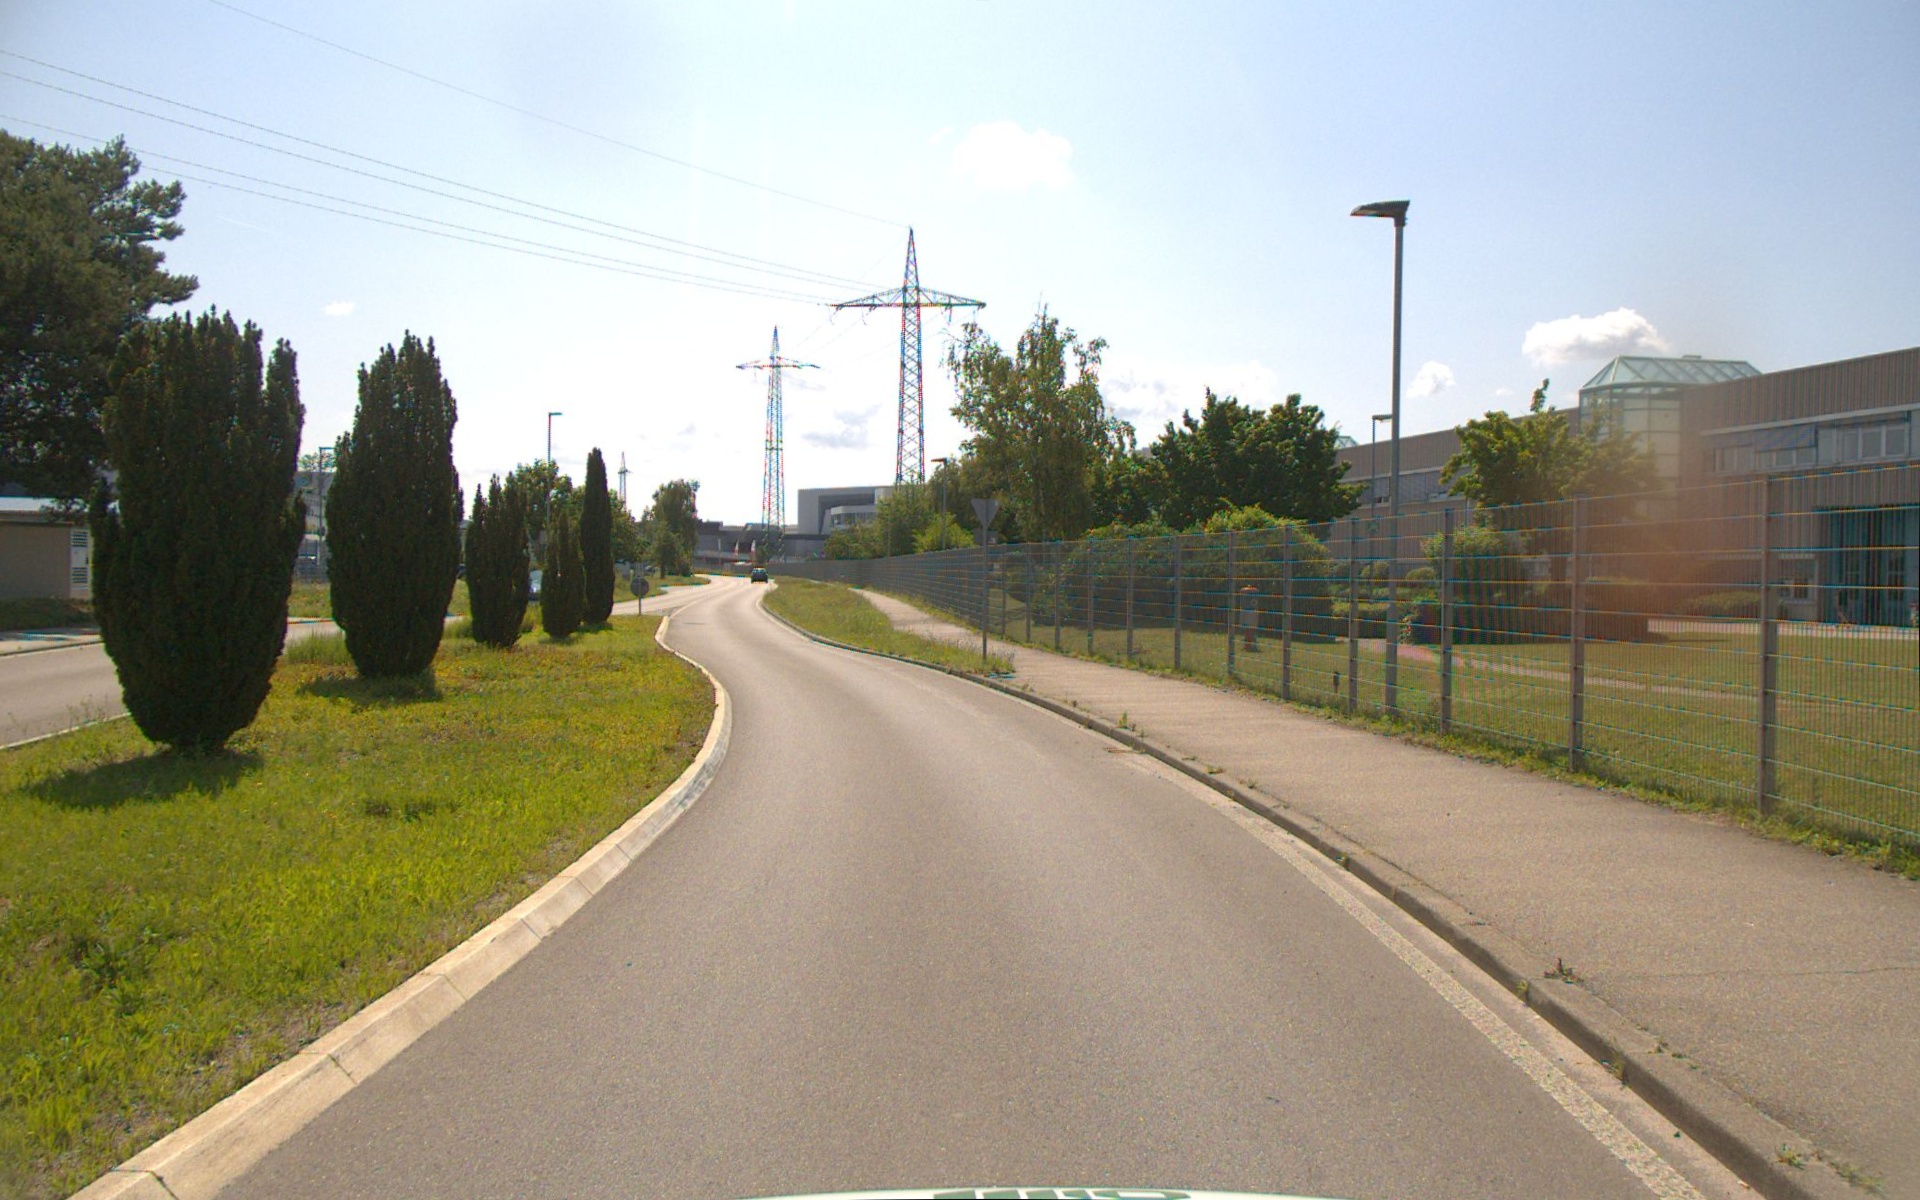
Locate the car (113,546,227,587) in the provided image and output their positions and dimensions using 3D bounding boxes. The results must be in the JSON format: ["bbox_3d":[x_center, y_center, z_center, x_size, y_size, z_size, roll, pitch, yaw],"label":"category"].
[{"bbox_3d":[-28.645,-1.208,59.974,3.528,1.426,1.779,0,1,-35],"label":"car"}]

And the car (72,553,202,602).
[{"bbox_3d":[-30.657,-0.809,61.683,4.069,1.734,1.699,1,0,-40],"label":"car"}]

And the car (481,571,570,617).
[{"bbox_3d":[-14.120,-0.227,54.024,1.861,1.418,4.862,1,1,-3],"label":"car"}]

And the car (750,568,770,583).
[{"bbox_3d":[-21.311,-2.585,176.277,1.975,1.534,3.992,0,0,-9],"label":"car"}]
